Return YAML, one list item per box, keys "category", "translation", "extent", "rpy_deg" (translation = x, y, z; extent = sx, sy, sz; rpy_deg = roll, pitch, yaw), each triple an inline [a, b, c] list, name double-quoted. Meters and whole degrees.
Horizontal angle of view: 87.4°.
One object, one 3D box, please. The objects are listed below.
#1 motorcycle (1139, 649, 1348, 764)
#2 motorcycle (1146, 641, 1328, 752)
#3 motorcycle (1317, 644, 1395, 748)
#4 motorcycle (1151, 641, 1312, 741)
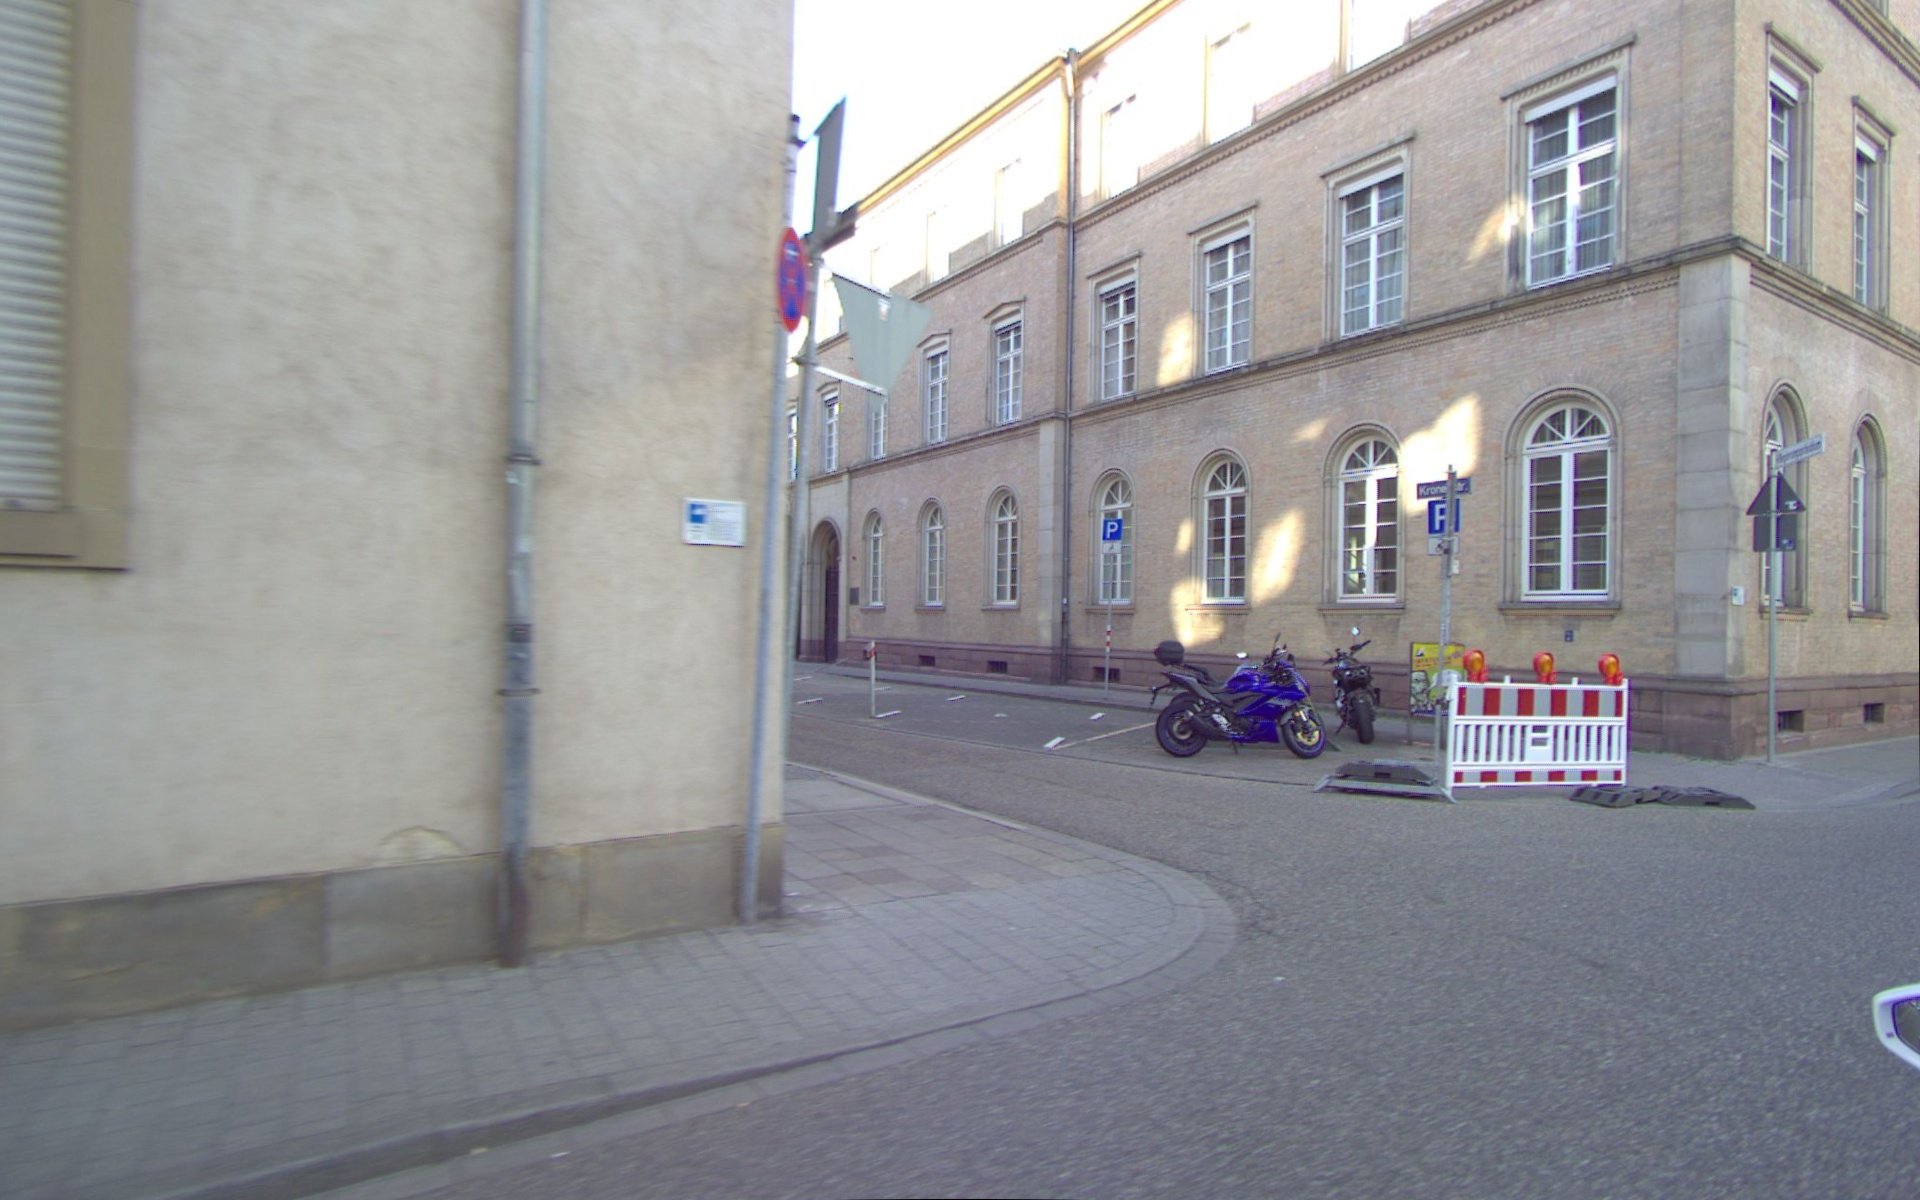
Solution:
- category: "motorcycle"
  translation: [3.174, 1.185, 11.428]
  extent: [2.237, 1.189, 0.588]
  rpy_deg: [0, 2, 9]
- category: "motorcycle"
  translation: [3.455, 1.185, 12.658]
  extent: [2.156, 1.311, 0.588]
  rpy_deg: [0, -1, 14]
- category: "motorcycle"
  translation: [5.095, 1.185, 13.029]
  extent: [0.647, 1.189, 2.202]
  rpy_deg: [0, -1, 14]
- category: "motorcycle"
  translation: [3.696, 1.222, 13.776]
  extent: [2.084, 1.291, 0.588]
  rpy_deg: [0, -1, 13]
